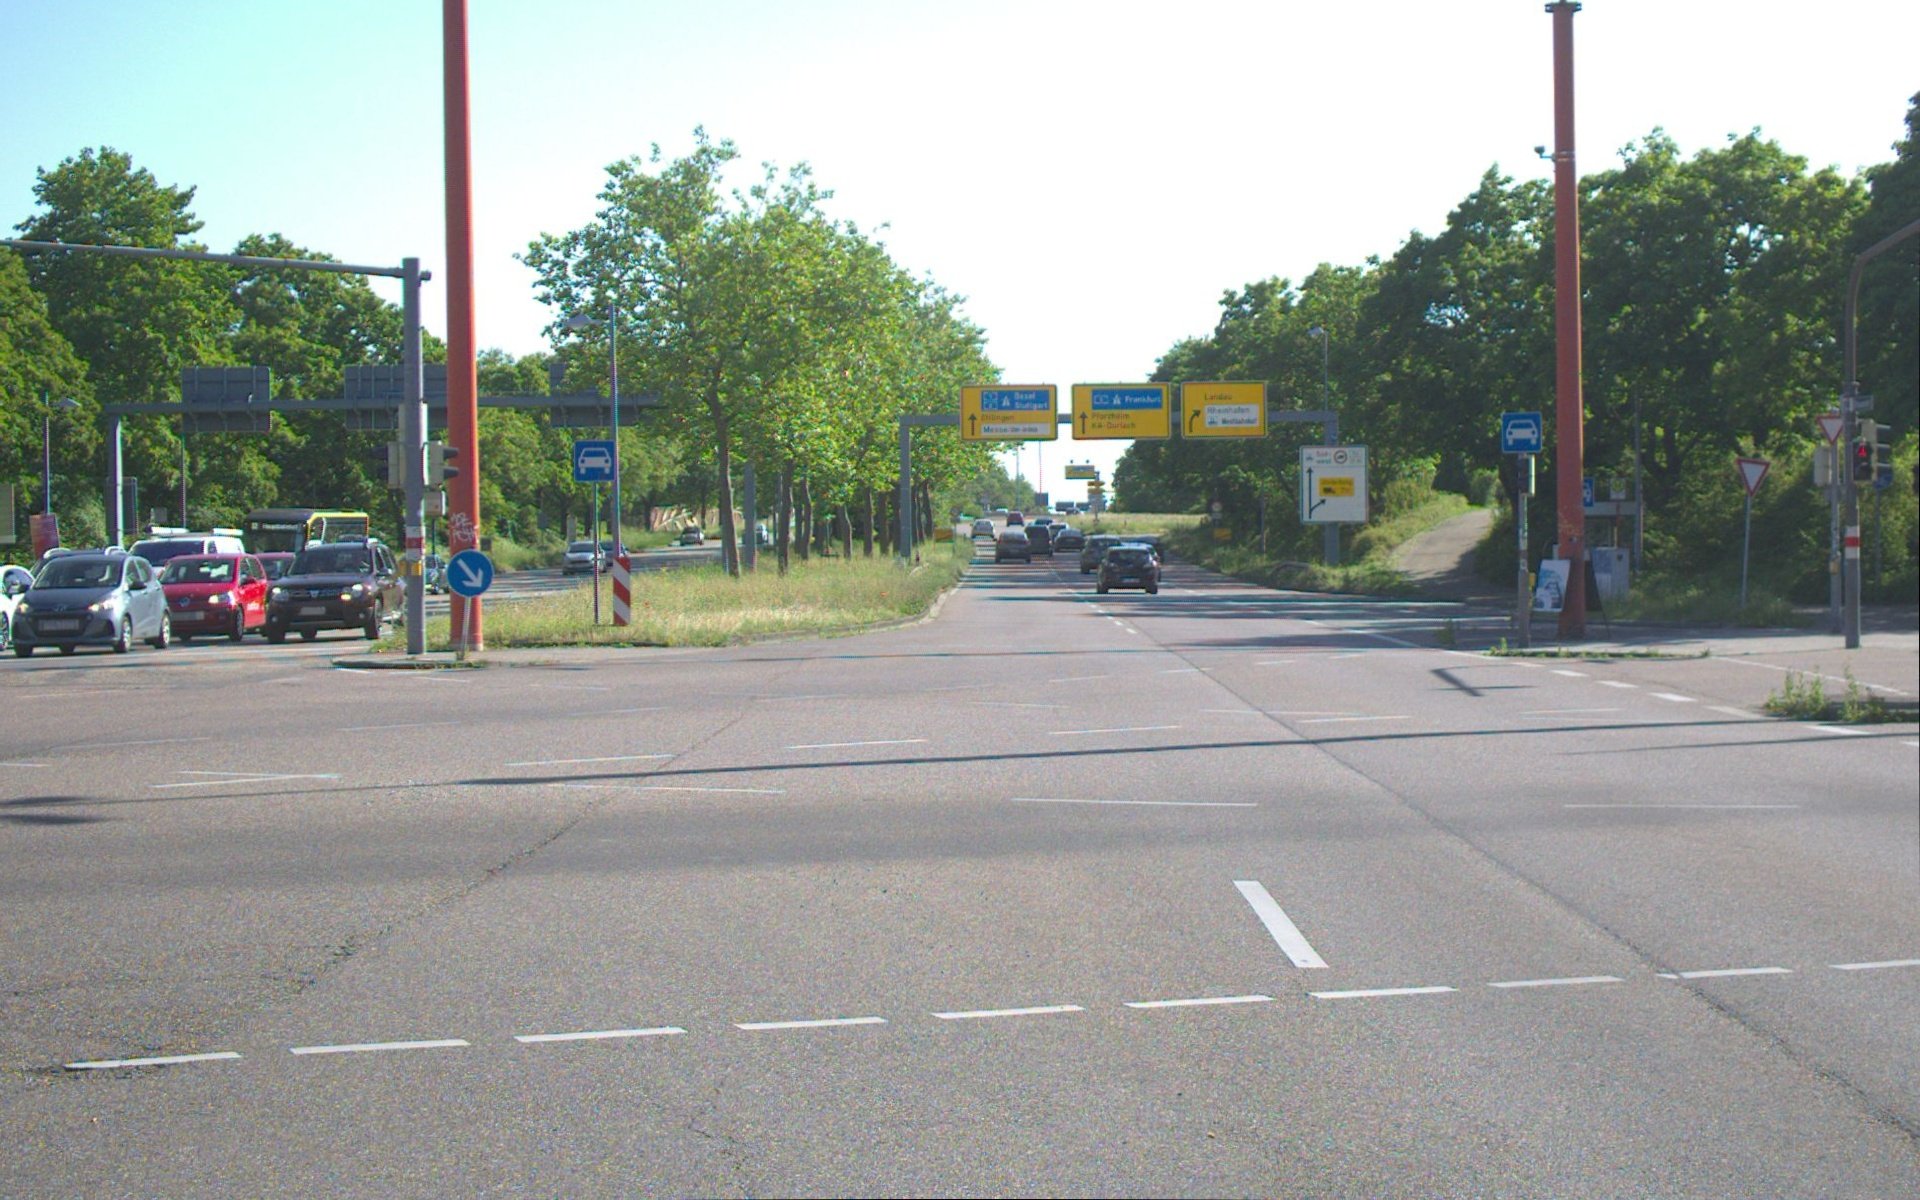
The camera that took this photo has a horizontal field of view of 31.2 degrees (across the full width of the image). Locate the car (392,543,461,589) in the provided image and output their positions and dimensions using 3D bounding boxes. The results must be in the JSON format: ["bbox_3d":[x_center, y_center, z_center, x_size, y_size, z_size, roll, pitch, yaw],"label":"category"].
[{"bbox_3d":[-18.902,-1.214,121.991,1.993,1.568,4.121,-1,1,-3],"label":"car"}]

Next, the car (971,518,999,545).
[{"bbox_3d":[1.891,-5.219,261.092,1.993,2.007,4.000,-1,1,-1],"label":"car"}]

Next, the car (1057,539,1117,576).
[{"bbox_3d":[5.533,-1.875,150.219,2.158,1.568,4.281,-1,1,-4],"label":"car"}]

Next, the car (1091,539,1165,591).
[{"bbox_3d":[5.199,-1.101,106.835,2.159,1.568,4.281,-1,1,1],"label":"car"}]

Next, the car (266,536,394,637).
[{"bbox_3d":[-10.247,-0.247,56.150,1.876,1.568,4.122,-1,1,-8],"label":"car"}]

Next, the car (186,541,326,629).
[{"bbox_3d":[-13.117,-0.299,64.250,1.993,1.568,4.121,-1,1,-4],"label":"car"}]

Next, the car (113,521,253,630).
[{"bbox_3d":[-16.115,-0.531,71.511,2.062,2.185,4.379,-1,1,-2],"label":"car"}]

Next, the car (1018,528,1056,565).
[{"bbox_3d":[4.337,-3.033,194.925,1.993,2.007,4.000,-1,1,-1],"label":"car"}]

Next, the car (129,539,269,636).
[{"bbox_3d":[-12.899,-0.238,58.471,1.993,1.568,4.122,-1,1,-8],"label":"car"}]

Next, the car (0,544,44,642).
[{"bbox_3d":[-16.489,-0.120,57.038,1.993,1.568,4.122,-2,1,-8],"label":"car"}]

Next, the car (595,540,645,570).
[{"bbox_3d":[-17.849,-2.374,180.460,1.994,1.568,4.120,0,1,3],"label":"car"}]

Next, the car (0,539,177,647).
[{"bbox_3d":[-13.253,-0.134,52.169,1.993,1.568,4.121,-1,1,-3],"label":"car"}]

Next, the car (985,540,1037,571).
[{"bbox_3d":[2.649,-2.332,178.728,2.245,1.568,4.282,-1,1,-5],"label":"car"}]

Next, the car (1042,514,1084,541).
[{"bbox_3d":[6.372,-4.476,212.672,2.158,1.568,4.281,-1,1,-4],"label":"car"}]

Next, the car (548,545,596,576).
[{"bbox_3d":[-18.572,-1.896,164.827,1.884,1.449,3.656,-1,1,0],"label":"car"}]
